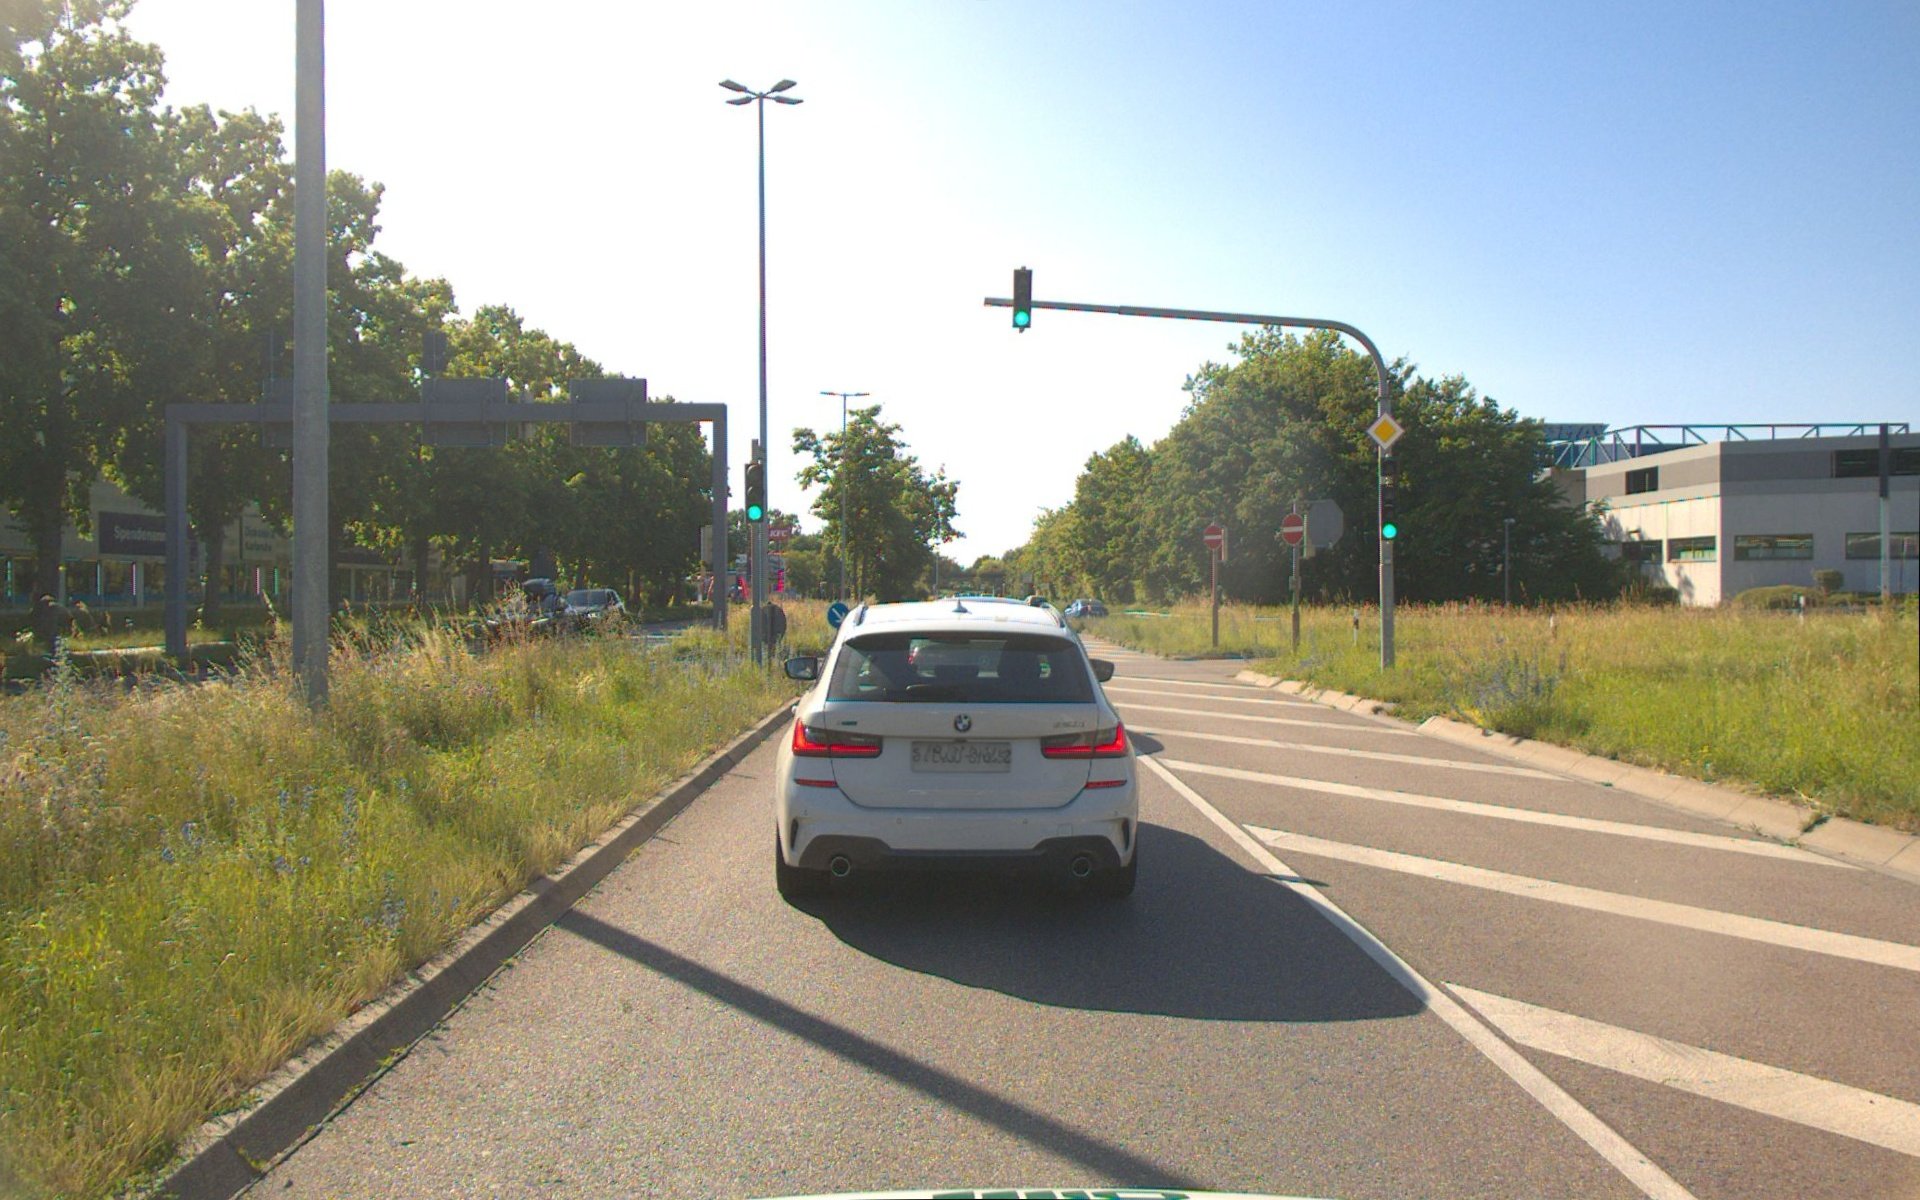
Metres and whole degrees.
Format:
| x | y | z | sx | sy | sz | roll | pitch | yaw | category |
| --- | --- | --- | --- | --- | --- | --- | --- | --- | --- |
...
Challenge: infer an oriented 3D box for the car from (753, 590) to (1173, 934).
| x | y | z | sx | sy | sz | roll | pitch | yaw | category |
| --- | --- | --- | --- | --- | --- | --- | --- | --- | --- |
| 0.013 | 0.694 | 9.502 | 1.823 | 1.480 | 4.547 | -1 | 0 | 0 | car |

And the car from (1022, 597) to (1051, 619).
| x | y | z | sx | sy | sz | roll | pitch | yaw | category |
| --- | --- | --- | --- | --- | --- | --- | --- | --- | --- |
| 5.517 | 0.562 | 119.684 | 1.736 | 1.583 | 3.832 | 0 | 0 | -2 | car |

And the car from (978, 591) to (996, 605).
| x | y | z | sx | sy | sz | roll | pitch | yaw | category |
| --- | --- | --- | --- | --- | --- | --- | --- | --- | --- |
| 3.086 | -0.277 | 189.661 | 1.824 | 1.592 | 4.547 | -1 | 0 | -1 | car |

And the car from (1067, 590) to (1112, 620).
| x | y | z | sx | sy | sz | roll | pitch | yaw | category |
| --- | --- | --- | --- | --- | --- | --- | --- | --- | --- |
| 6.875 | 0.249 | 88.315 | 1.825 | 1.525 | 4.333 | 0 | 0 | -4 | car |

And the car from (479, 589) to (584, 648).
| x | y | z | sx | sy | sz | roll | pitch | yaw | category |
| --- | --- | --- | --- | --- | --- | --- | --- | --- | --- |
| -12.468 | 0.511 | 48.423 | 1.838 | 1.569 | 4.572 | -2 | 0 | 0 | car |

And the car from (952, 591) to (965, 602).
| x | y | z | sx | sy | sz | roll | pitch | yaw | category |
| --- | --- | --- | --- | --- | --- | --- | --- | --- | --- |
| -0.218 | -0.472 | 234.476 | 1.824 | 1.592 | 4.547 | -1 | 0 | -1 | car |

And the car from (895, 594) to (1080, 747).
| x | y | z | sx | sy | sz | roll | pitch | yaw | category |
| --- | --- | --- | --- | --- | --- | --- | --- | --- | --- |
| 0.246 | 0.691 | 18.633 | 1.824 | 1.480 | 4.547 | 0 | 0 | -1 | car |

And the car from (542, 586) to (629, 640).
| x | y | z | sx | sy | sz | roll | pitch | yaw | category |
| --- | --- | --- | --- | --- | --- | --- | --- | --- | --- |
| -12.836 | 0.416 | 56.957 | 1.902 | 1.726 | 4.629 | -2 | 1 | -1 | car |
